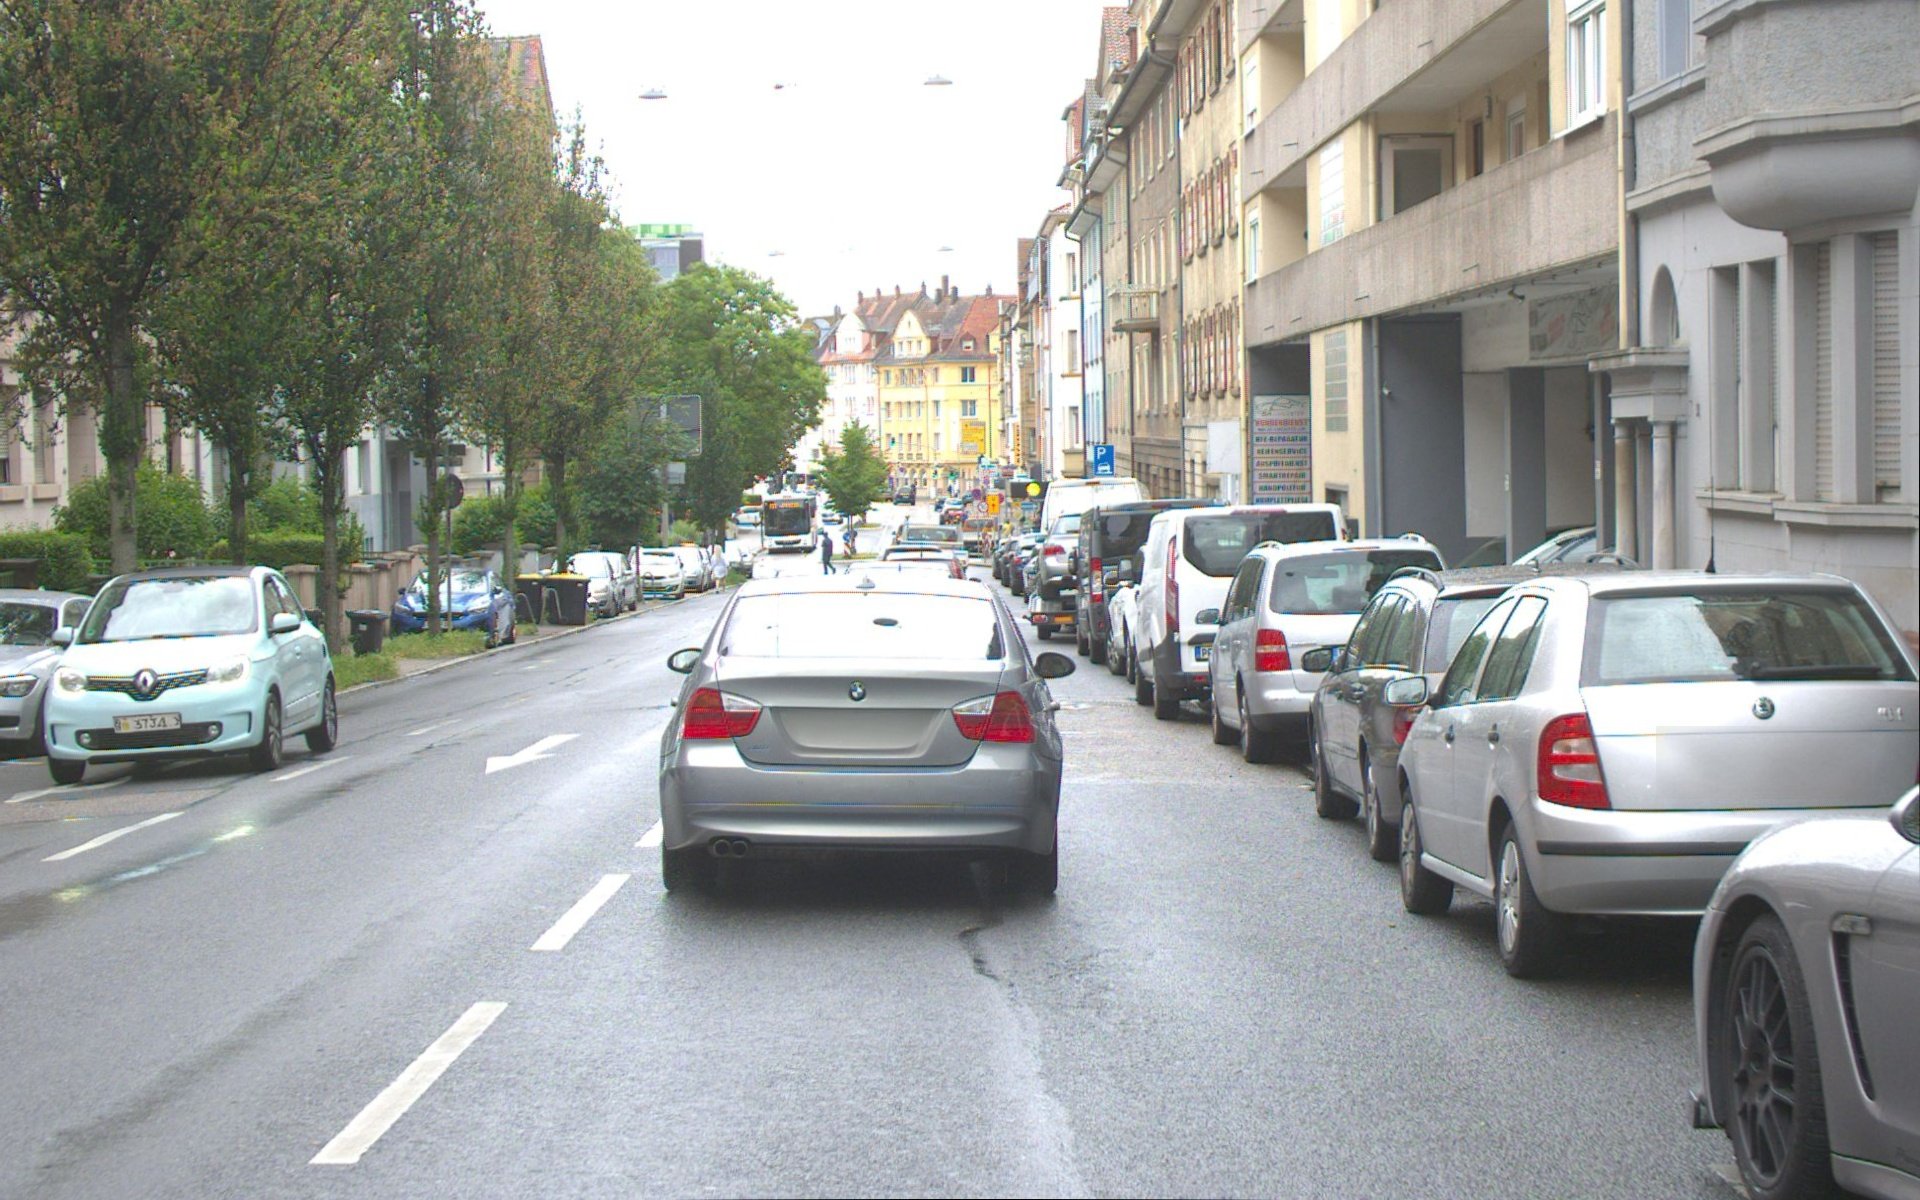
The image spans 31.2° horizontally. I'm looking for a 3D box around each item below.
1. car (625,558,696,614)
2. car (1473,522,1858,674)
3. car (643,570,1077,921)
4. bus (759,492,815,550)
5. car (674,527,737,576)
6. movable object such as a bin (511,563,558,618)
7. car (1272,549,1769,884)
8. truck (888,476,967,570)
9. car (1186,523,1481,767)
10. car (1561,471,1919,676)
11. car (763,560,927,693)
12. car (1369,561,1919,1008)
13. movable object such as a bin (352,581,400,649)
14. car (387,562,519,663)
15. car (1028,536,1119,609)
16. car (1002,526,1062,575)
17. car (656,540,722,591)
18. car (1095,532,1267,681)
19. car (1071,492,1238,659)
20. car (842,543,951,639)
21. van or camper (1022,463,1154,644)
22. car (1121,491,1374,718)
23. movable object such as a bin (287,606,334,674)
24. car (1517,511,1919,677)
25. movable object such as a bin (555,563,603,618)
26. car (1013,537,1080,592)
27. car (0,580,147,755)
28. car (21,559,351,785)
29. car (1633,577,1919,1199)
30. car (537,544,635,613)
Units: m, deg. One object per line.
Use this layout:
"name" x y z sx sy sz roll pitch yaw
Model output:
"car" -8.888 -0.425 102.220 1.691 1.518 3.736 -3 1 1
"car" 8.216 -0.033 40.104 4.289 1.635 1.666 -1 3 12
"car" -0.420 0.582 15.998 1.769 1.423 3.741 1 1 0
"bus" -9.483 -4.339 189.475 2.668 3.014 7.671 -2 1 0
"car" -8.382 -1.607 113.334 1.691 1.518 3.736 -3 1 1
"movable object such as a bin" -9.190 -0.207 74.281 0.902 1.164 0.895 0 1 0
"car" 2.906 0.524 18.887 1.900 1.473 4.799 -4 1 1
"truck" -0.899 -2.027 91.749 2.032 2.404 4.827 1 1 -1
"car" 2.835 0.289 26.904 1.726 1.664 4.289 -3 1 0
"car" 7.943 -0.268 32.171 4.329 1.798 2.005 -1 3 17
"car" -1.264 0.265 39.043 1.682 1.423 3.741 1 1 1
"car" 2.675 0.596 13.527 1.611 1.469 4.016 0 1 0
"movable object such as a bin" -8.164 0.206 48.043 0.574 0.909 0.640 -2 1 -14
"car" -8.858 0.188 60.324 1.766 1.588 4.000 -3 1 -1
"car" 2.380 -0.584 72.830 1.697 1.478 3.975 1 1 -1
"car" 2.226 -1.521 106.727 1.697 1.478 3.975 1 1 -1
"car" -8.600 -1.109 109.322 1.691 1.518 3.736 -3 1 1
"car" 2.636 0.037 41.754 1.726 1.664 4.289 -2 1 0
"car" 2.676 -0.367 48.321 1.982 2.158 4.750 -2 1 0
"car" -1.029 -0.160 55.847 1.697 1.478 3.794 1 1 -1
"van or camper" 2.256 -0.814 58.930 2.033 2.859 6.884 2 1 3
"car" 2.729 0.001 33.646 1.982 2.000 4.625 -2 1 0
"movable object such as a bin" -9.052 0.553 47.899 0.574 0.909 0.640 -2 1 -14
"car" 8.168 -0.068 36.692 4.289 1.635 1.666 -1 3 12
"movable object such as a bin" -8.229 -0.212 74.283 0.935 1.164 0.909 0 1 0
"car" 2.419 -0.999 96.916 1.697 1.478 3.975 1 1 -1
"car" -8.871 0.568 31.752 1.726 1.478 3.989 1 0 1
"car" -5.884 0.496 26.544 1.636 1.503 3.755 -4 1 0
"car" 2.873 0.711 6.219 1.875 1.462 4.776 0 1 -7
"car" -8.884 -0.531 81.923 1.827 1.518 3.736 -3 1 1
